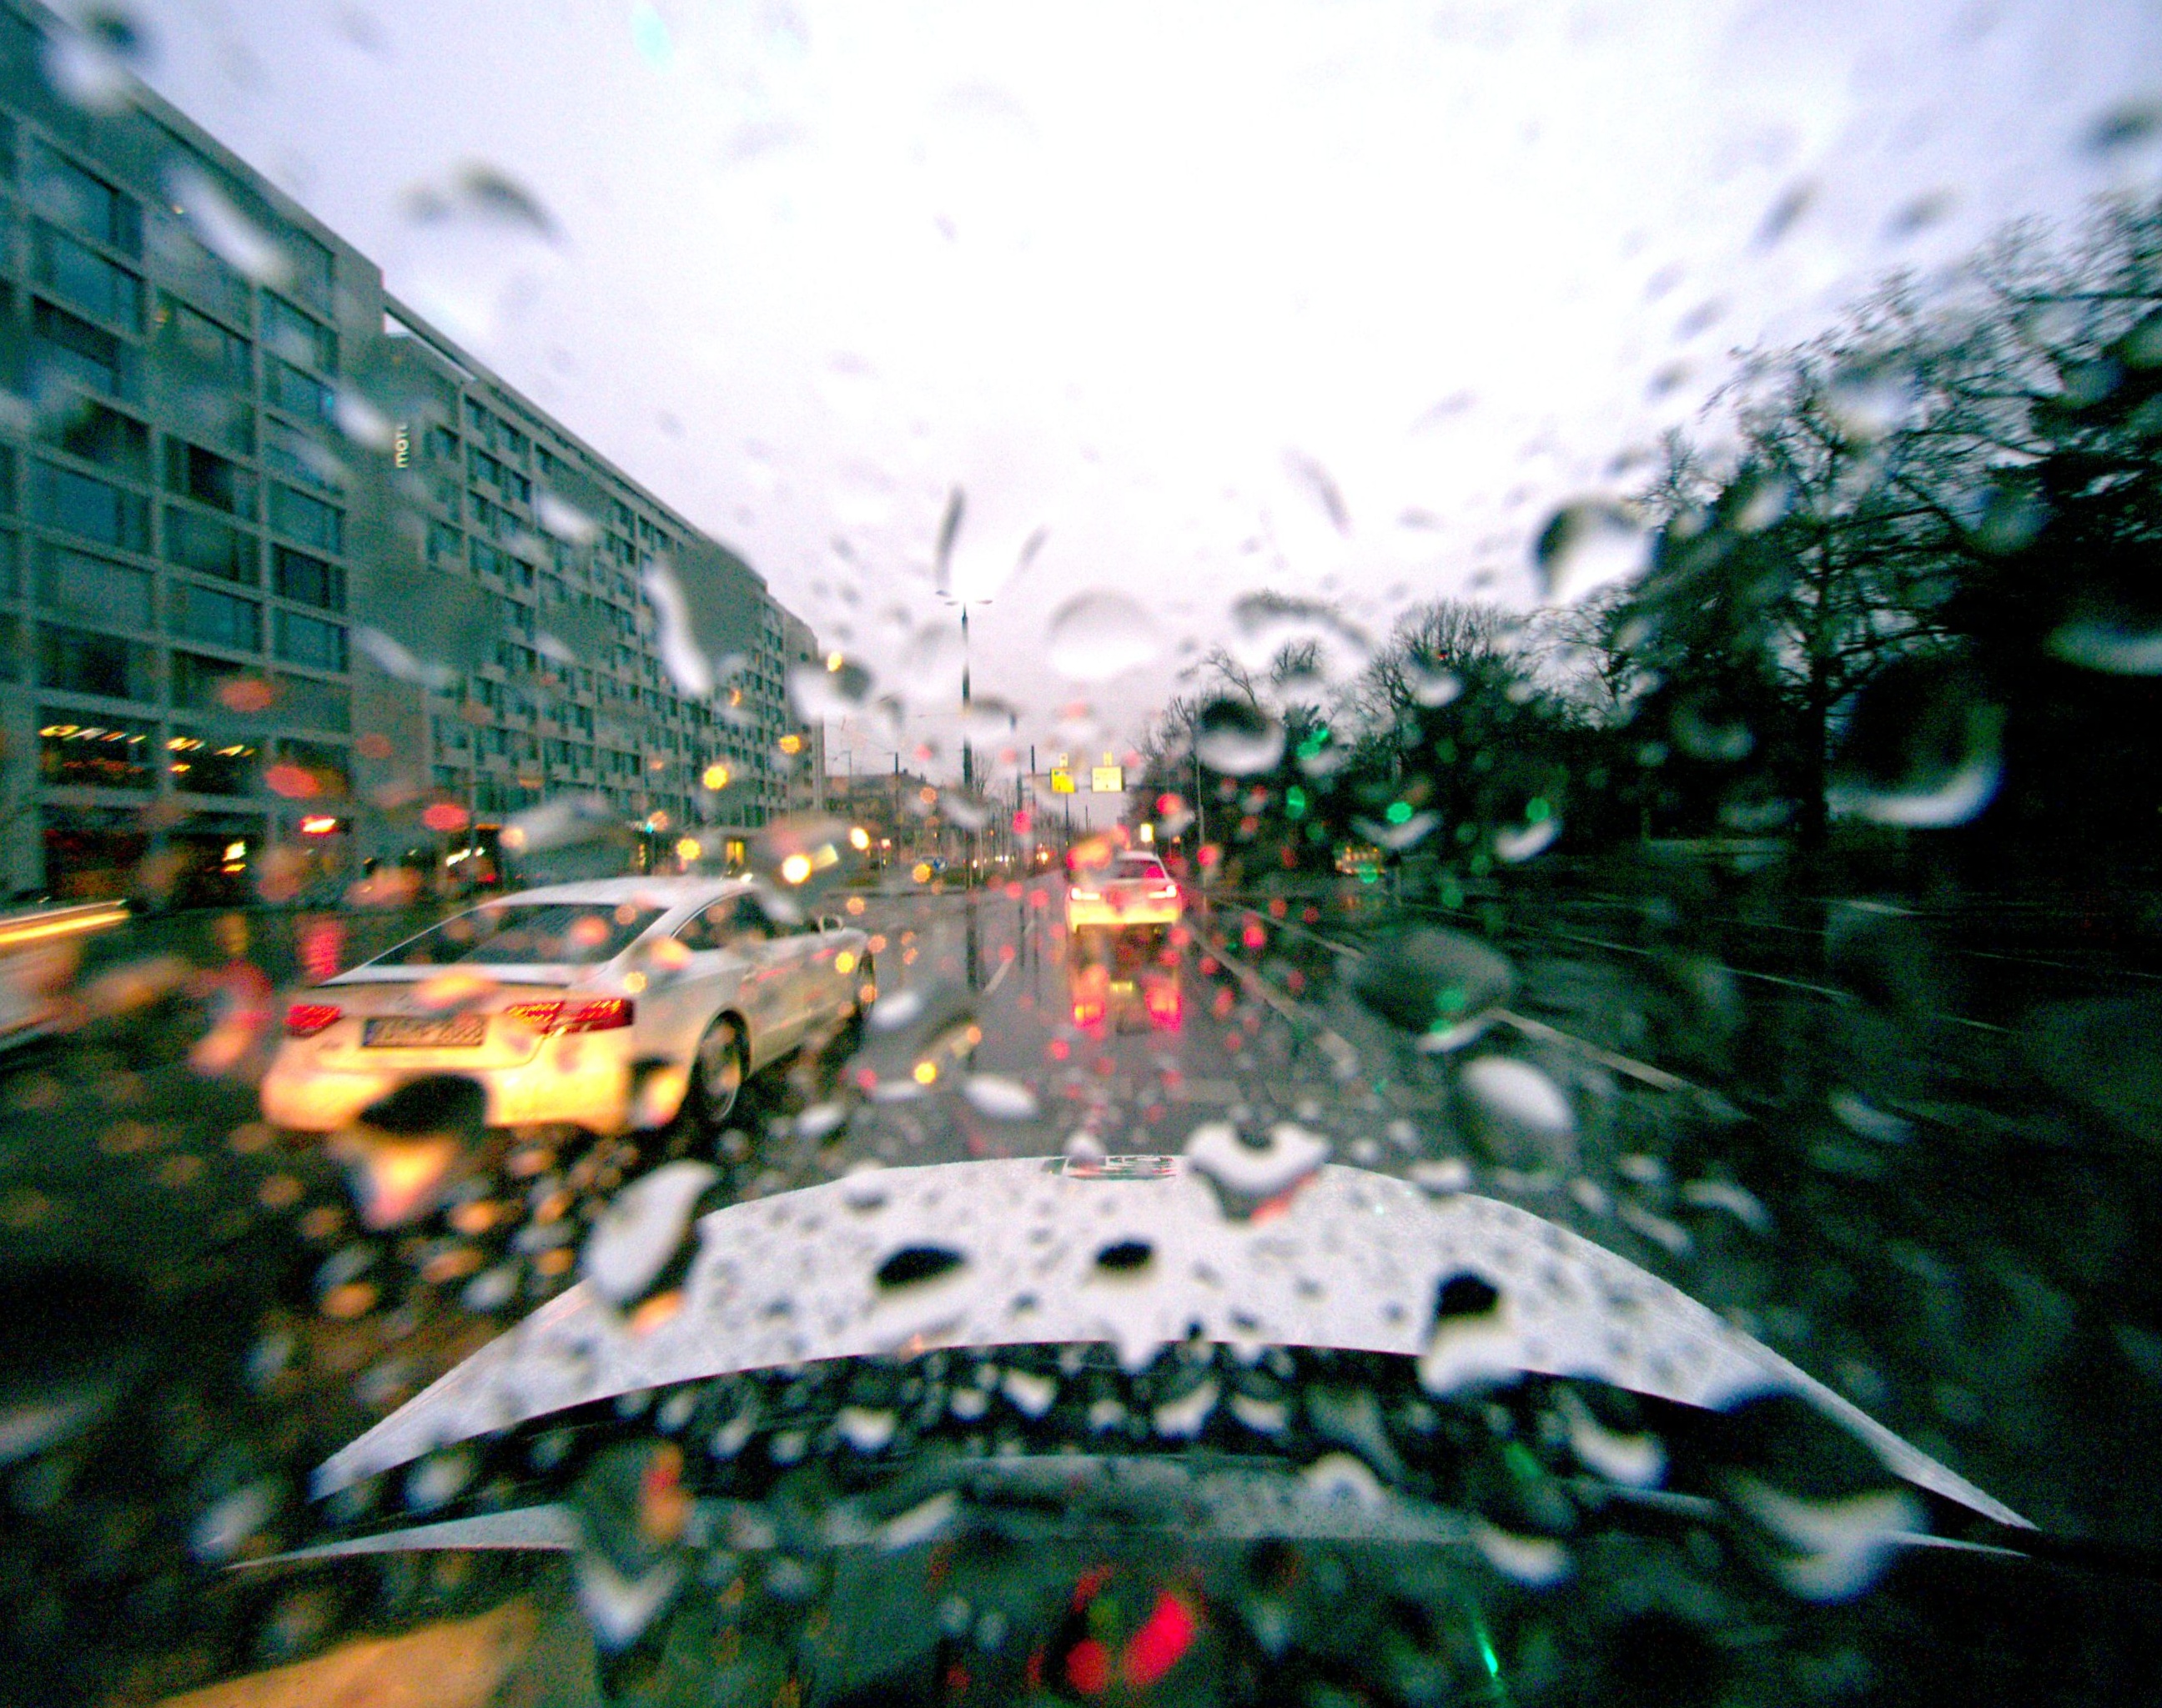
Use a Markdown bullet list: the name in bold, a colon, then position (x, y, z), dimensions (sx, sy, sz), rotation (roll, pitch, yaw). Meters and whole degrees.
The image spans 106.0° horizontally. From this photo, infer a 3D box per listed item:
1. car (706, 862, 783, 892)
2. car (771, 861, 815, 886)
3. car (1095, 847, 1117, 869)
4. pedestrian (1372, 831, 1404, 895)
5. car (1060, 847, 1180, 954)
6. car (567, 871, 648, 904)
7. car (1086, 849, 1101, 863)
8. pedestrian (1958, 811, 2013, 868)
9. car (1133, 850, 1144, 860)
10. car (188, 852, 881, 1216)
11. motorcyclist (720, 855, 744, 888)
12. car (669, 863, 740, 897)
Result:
- **car**: position (-18.656, 1.249, 45.444), dimensions (1.986, 1.462, 5.098), rotation (0, 0, 2)
- **car**: position (-18.570, 1.198, 52.730), dimensions (1.995, 1.462, 5.074), rotation (0, 0, -12)
- **car**: position (2.344, 0.383, 76.709), dimensions (1.986, 2.013, 4.002), rotation (0, 0, 2)
- **pedestrian**: position (9.130, 0.252, 24.264), dimensions (0.710, 1.879, 0.676), rotation (0, 0, 3)
- **car**: position (0.534, 0.671, 14.104), dimensions (1.755, 1.552, 4.249), rotation (0, 0, -1)
- **car**: position (-25.501, 1.761, 44.012), dimensions (1.873, 1.574, 4.004), rotation (0, 0, 3)
- **car**: position (1.823, 0.261, 116.405), dimensions (1.986, 2.013, 4.002), rotation (0, 0, 2)
- **pedestrian**: position (26.461, -0.410, 23.831), dimensions (0.726, 1.640, 0.846), rotation (0, 0, -19)
- **car**: position (11.257, 0.171, 158.809), dimensions (1.986, 2.013, 4.002), rotation (0, 0, 2)
- **car**: position (-2.762, 0.730, 5.467), dimensions (1.754, 1.469, 4.251), rotation (0, 0, 0)
- **motorcyclist**: position (-20.255, 1.023, 47.270), dimensions (0.867, 1.885, 1.034), rotation (0, 0, 2)
- **car**: position (-21.816, 1.482, 47.445), dimensions (1.874, 1.789, 4.600), rotation (0, 0, 1)
